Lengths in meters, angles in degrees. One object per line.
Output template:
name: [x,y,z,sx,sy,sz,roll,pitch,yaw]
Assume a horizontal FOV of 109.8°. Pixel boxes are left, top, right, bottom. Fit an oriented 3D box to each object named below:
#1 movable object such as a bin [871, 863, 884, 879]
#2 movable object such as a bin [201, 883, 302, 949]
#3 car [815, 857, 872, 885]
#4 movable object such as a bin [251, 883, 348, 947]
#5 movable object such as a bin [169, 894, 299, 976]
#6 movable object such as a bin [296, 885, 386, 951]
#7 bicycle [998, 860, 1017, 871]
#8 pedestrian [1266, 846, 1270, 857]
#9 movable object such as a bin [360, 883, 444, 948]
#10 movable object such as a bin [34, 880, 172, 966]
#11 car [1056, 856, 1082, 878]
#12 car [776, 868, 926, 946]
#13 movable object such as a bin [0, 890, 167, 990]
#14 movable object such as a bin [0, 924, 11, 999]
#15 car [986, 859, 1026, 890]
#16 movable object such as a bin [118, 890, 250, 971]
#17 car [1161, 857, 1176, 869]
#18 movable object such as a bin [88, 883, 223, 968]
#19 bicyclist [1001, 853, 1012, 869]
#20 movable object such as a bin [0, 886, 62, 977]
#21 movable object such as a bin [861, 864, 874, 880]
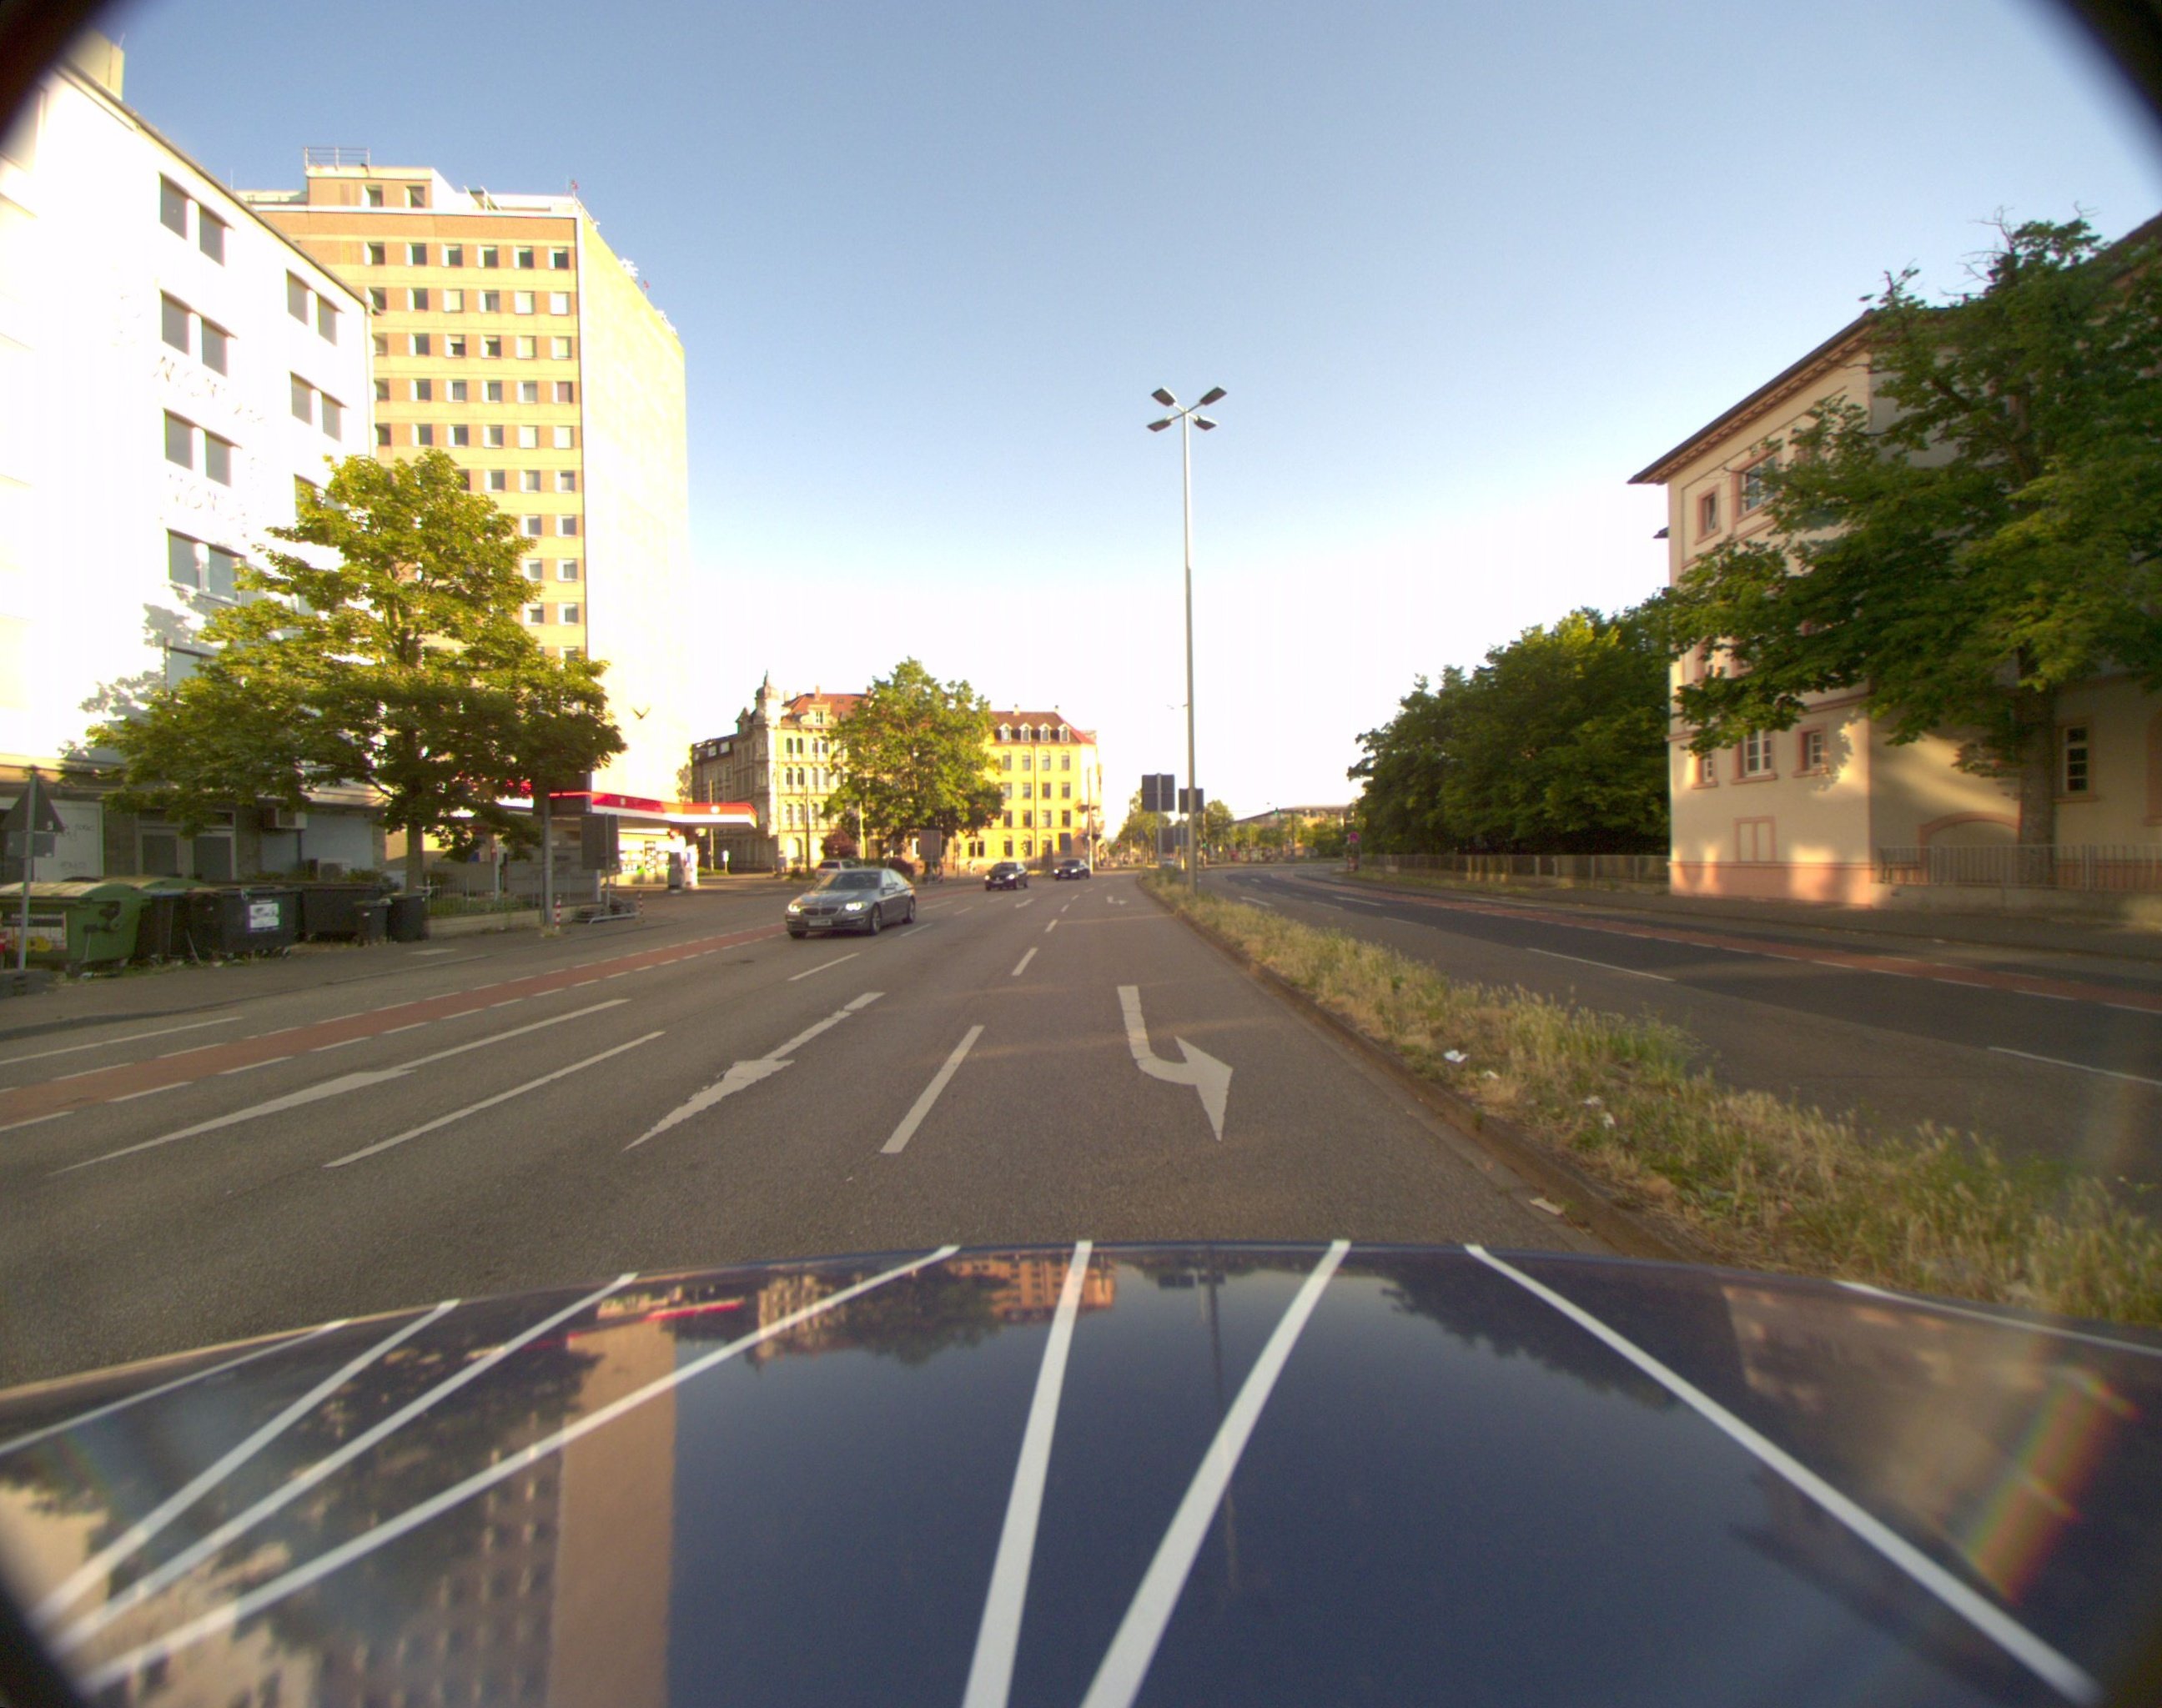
movable object such as a bin: [-13.137,1.118,49.091,0.544,1.013,0.688,-1,1,5]
movable object such as a bin: [-17.928,1.317,16.453,0.956,1.320,1.098,-1,1,-2]
car: [-13.945,0.953,44.813,1.688,1.508,3.798,-1,1,8]
movable object such as a bin: [-16.931,1.304,16.496,0.956,1.276,1.098,-1,1,-2]
movable object such as a bin: [-14.920,1.400,13.434,0.956,1.320,1.162,-1,1,-2]
movable object such as a bin: [-15.822,1.353,16.286,0.956,1.320,0.953,-1,1,-2]
bicycle: [-7.475,1.195,77.359,1.927,1.053,0.451,-1,1,-7]
pedestrian: [34.298,-0.416,139.167,0.556,2.002,0.664,-1,1,1]
movable object such as a bin: [-14.878,1.328,16.672,0.956,1.320,0.953,-1,1,-2]
movable object such as a bin: [-18.298,1.266,14.254,1.034,1.490,1.162,-1,1,-2]
car: [-0.835,0.910,55.221,1.731,1.440,4.045,-2,0,0]
car: [-5.158,1.117,17.781,1.819,1.440,4.667,-2,0,3]
movable object such as a bin: [-15.811,1.320,11.995,1.351,1.415,1.105,-1,1,-4]
movable object such as a bin: [-15.513,1.513,10.282,0.853,1.039,0.819,-1,1,-4]
car: [-3.881,1.053,39.863,1.584,1.440,3.872,-2,0,1]
movable object such as a bin: [-16.038,1.343,13.631,0.956,1.320,1.162,-1,1,-2]
car: [11.375,1.106,98.245,1.673,1.410,4.443,-2,0,9]
movable object such as a bin: [-17.122,1.301,14.100,1.034,1.440,1.162,-1,1,-2]
bicyclist: [-7.613,0.741,77.417,1.065,1.639,0.732,-1,1,-7]
movable object such as a bin: [-18.689,1.322,12.942,1.034,1.490,1.162,-1,1,-2]
movable object such as a bin: [-13.858,1.134,49.302,0.544,1.013,0.688,-1,1,5]
